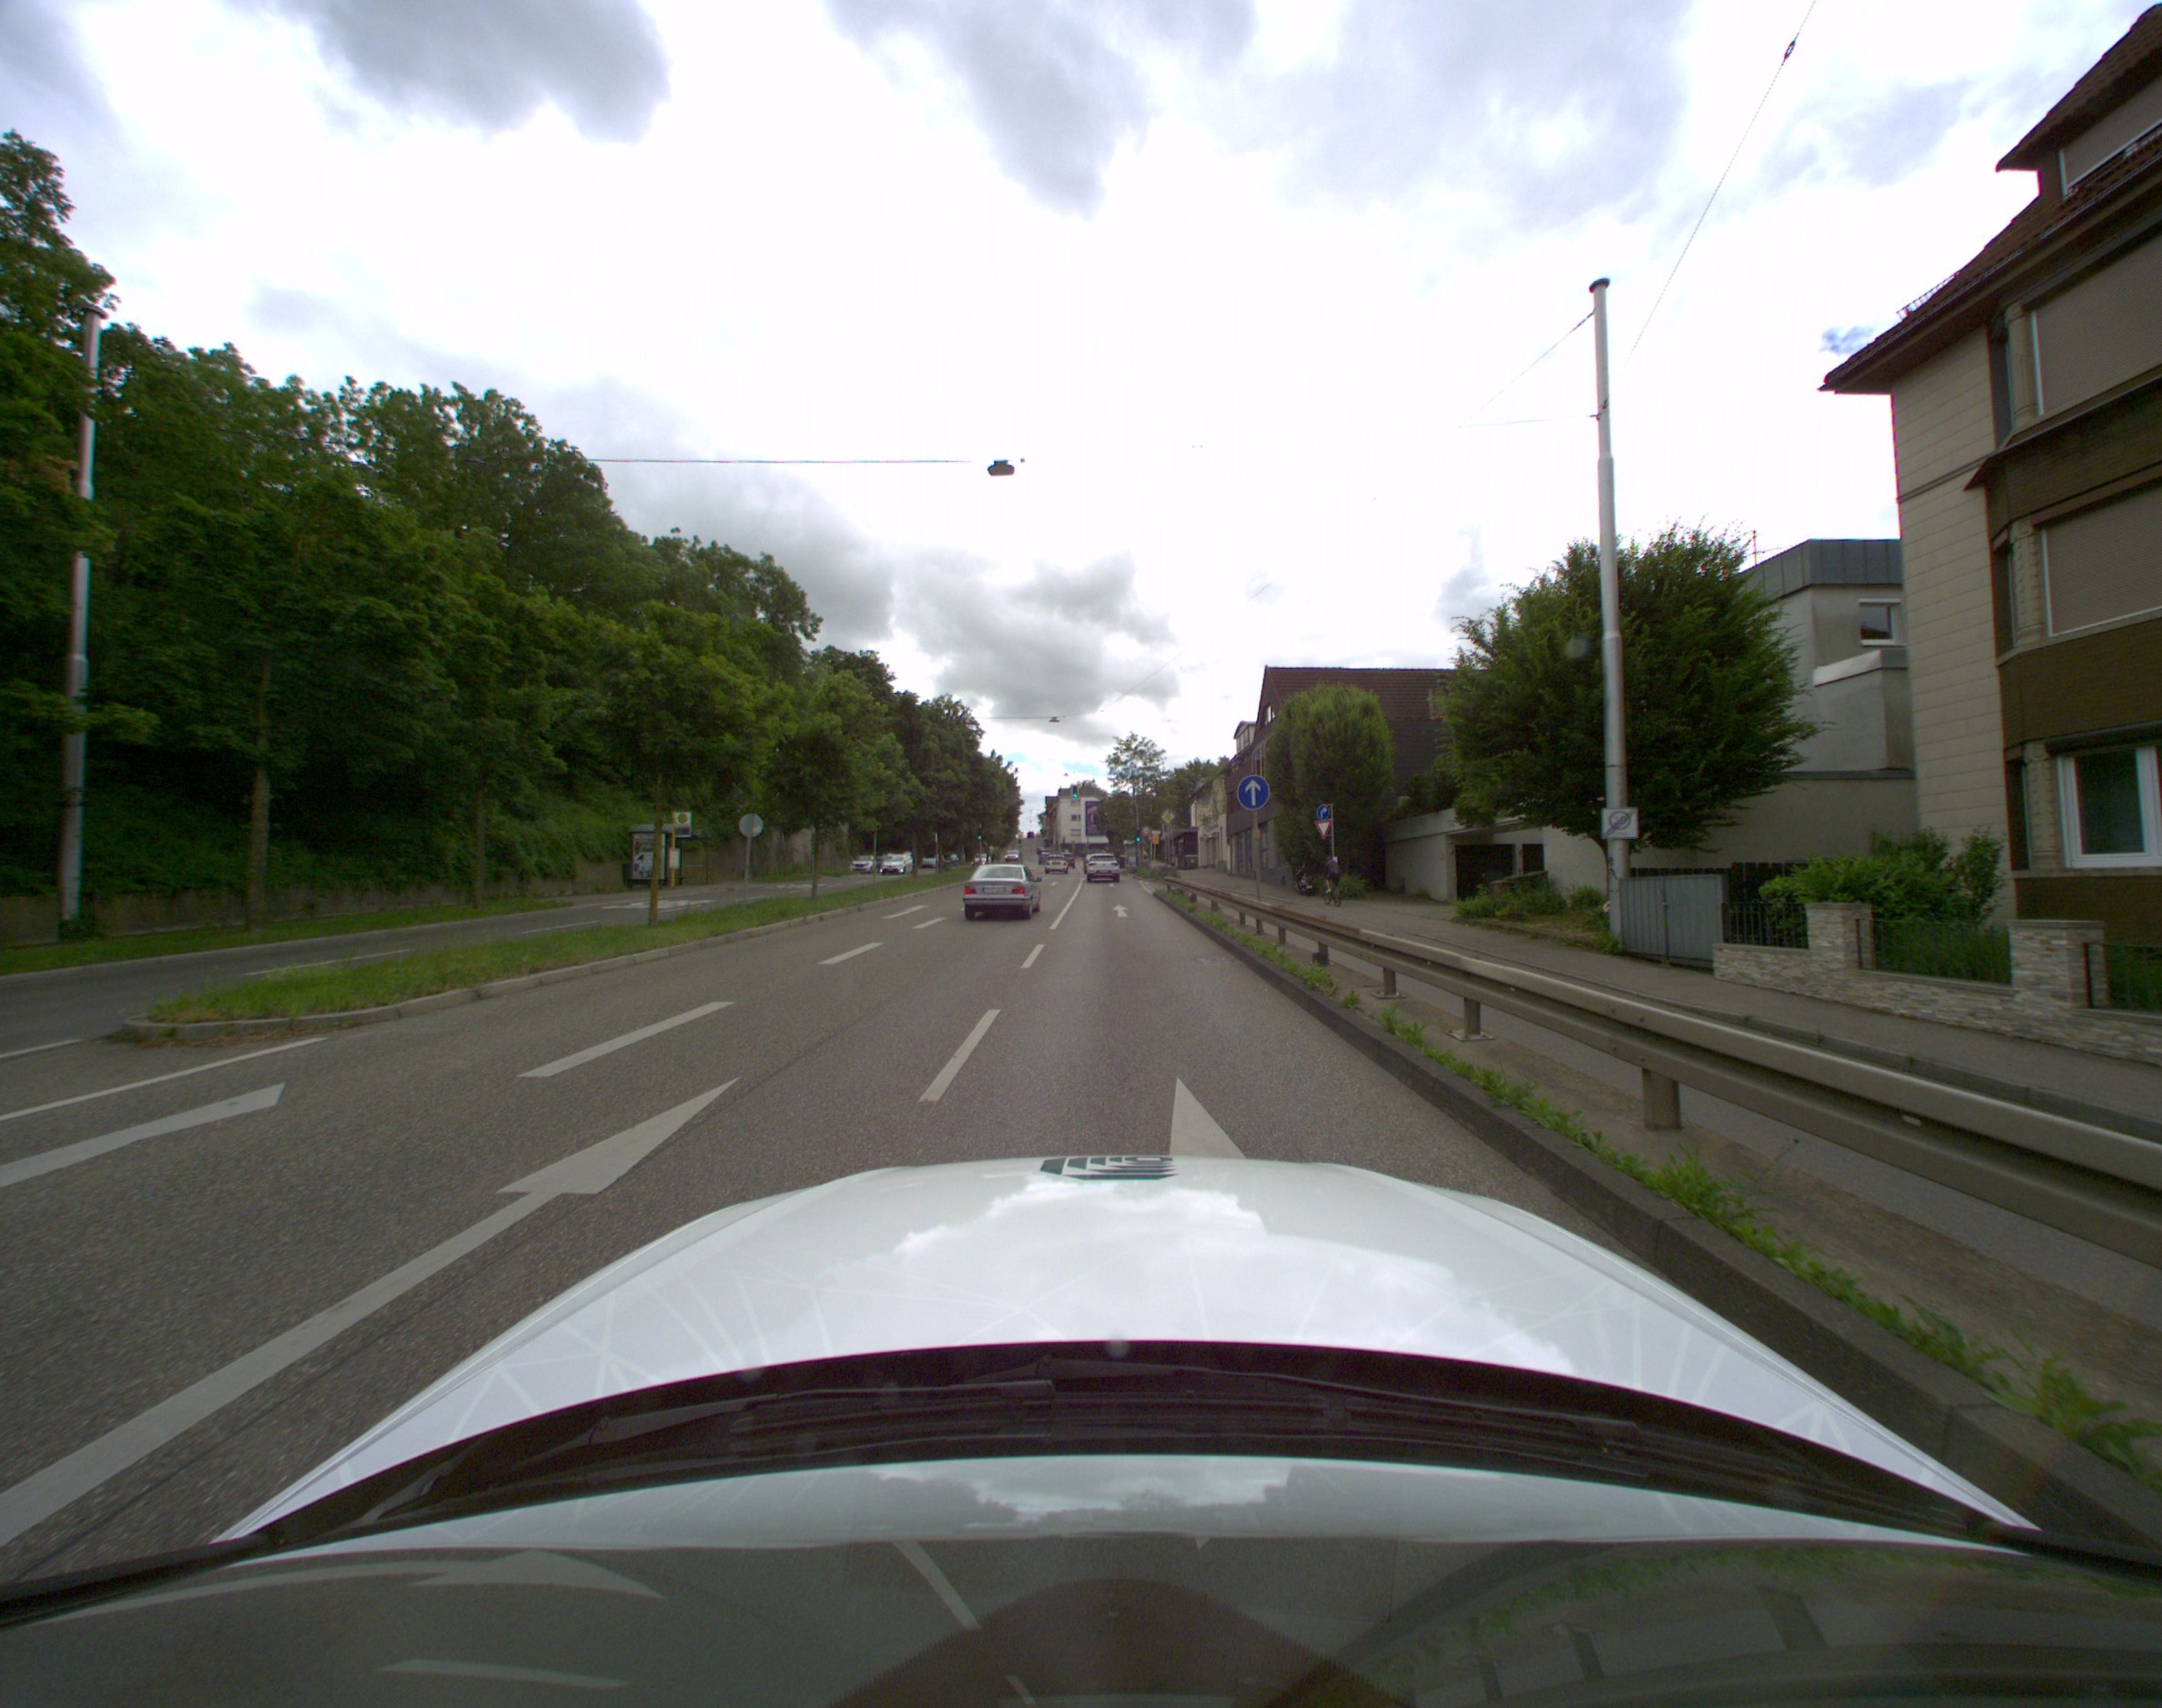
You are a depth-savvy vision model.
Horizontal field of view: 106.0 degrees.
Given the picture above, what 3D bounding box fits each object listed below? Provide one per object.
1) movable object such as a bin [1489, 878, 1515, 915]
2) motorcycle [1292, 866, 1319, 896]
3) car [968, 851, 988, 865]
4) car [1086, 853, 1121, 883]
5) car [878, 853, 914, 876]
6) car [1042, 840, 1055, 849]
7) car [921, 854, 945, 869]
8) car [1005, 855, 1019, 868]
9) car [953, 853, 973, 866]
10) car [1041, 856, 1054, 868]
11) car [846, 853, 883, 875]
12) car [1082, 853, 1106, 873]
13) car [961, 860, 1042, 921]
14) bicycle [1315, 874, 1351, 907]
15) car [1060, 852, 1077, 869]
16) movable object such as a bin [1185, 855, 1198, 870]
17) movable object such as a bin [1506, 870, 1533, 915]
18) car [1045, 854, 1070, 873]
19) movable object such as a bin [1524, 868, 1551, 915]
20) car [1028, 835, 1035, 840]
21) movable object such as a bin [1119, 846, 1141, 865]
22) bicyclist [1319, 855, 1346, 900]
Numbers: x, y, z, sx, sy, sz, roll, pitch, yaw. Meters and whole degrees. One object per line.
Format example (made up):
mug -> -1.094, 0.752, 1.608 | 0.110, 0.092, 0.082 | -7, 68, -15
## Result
movable object such as a bin -> 12.396, 1.254, 23.990 | 0.492, 1.057, 0.538 | 1, 0, 1
motorcycle -> 9.527, 1.136, 34.599 | 0.606, 1.162, 2.042 | -2, 0, 2
car -> -12.291, 0.430, 97.109 | 1.854, 1.541, 4.278 | 1, 0, -1
car -> 1.223, 0.766, 45.572 | 1.791, 1.519, 3.456 | -3, -1, 0
car -> -14.441, 0.771, 63.876 | 1.854, 1.670, 4.278 | 1, 0, -1
car -> -7.289, -2.151, 184.060 | 2.501, 2.013, 5.183 | 1, 0, 2
car -> -16.053, 0.805, 88.712 | 1.854, 1.593, 4.278 | 1, 0, -1
car -> -10.088, 1.109, 119.395 | 1.663, 1.865, 3.244 | -3, 0, 0
car -> -14.735, 0.610, 101.679 | 1.854, 1.541, 4.278 | 1, 0, -1
car -> -4.660, 1.087, 113.843 | 1.718, 1.583, 3.454 | -3, -1, -2
car -> -17.584, 0.772, 66.364 | 1.854, 1.670, 4.278 | 1, 0, -1
car -> 0.975, 0.708, 63.091 | 1.717, 1.376, 3.455 | -3, -1, 0
car -> -1.979, 0.880, 21.534 | 1.629, 1.383, 4.620 | 0, 0, 1
bicycle -> 9.040, 1.280, 29.297 | 0.565, 1.063, 2.004 | -4, 0, -1
car -> -1.386, 0.684, 87.038 | 1.718, 1.640, 3.454 | -3, -1, -2
movable object such as a bin -> 10.494, 0.801, 77.298 | 1.191, 1.408, 0.711 | 1, 0, 0
movable object such as a bin -> 12.900, 1.122, 23.985 | 0.492, 1.272, 0.538 | 1, 0, 1
car -> -1.784, 0.736, 62.842 | 1.717, 1.376, 3.455 | -3, -1, 0
movable object such as a bin -> 13.508, 1.093, 24.118 | 0.492, 1.363, 0.538 | 1, 0, 1
car -> -14.240, -4.755, 235.473 | 1.818, 1.508, 3.996 | 1, 0, -3
movable object such as a bin -> 4.816, 0.128, 80.443 | 1.890, 1.870, 1.524 | 1, 0, -8
bicyclist -> 9.003, 0.824, 29.139 | 0.565, 1.525, 0.959 | -4, 0, -1
